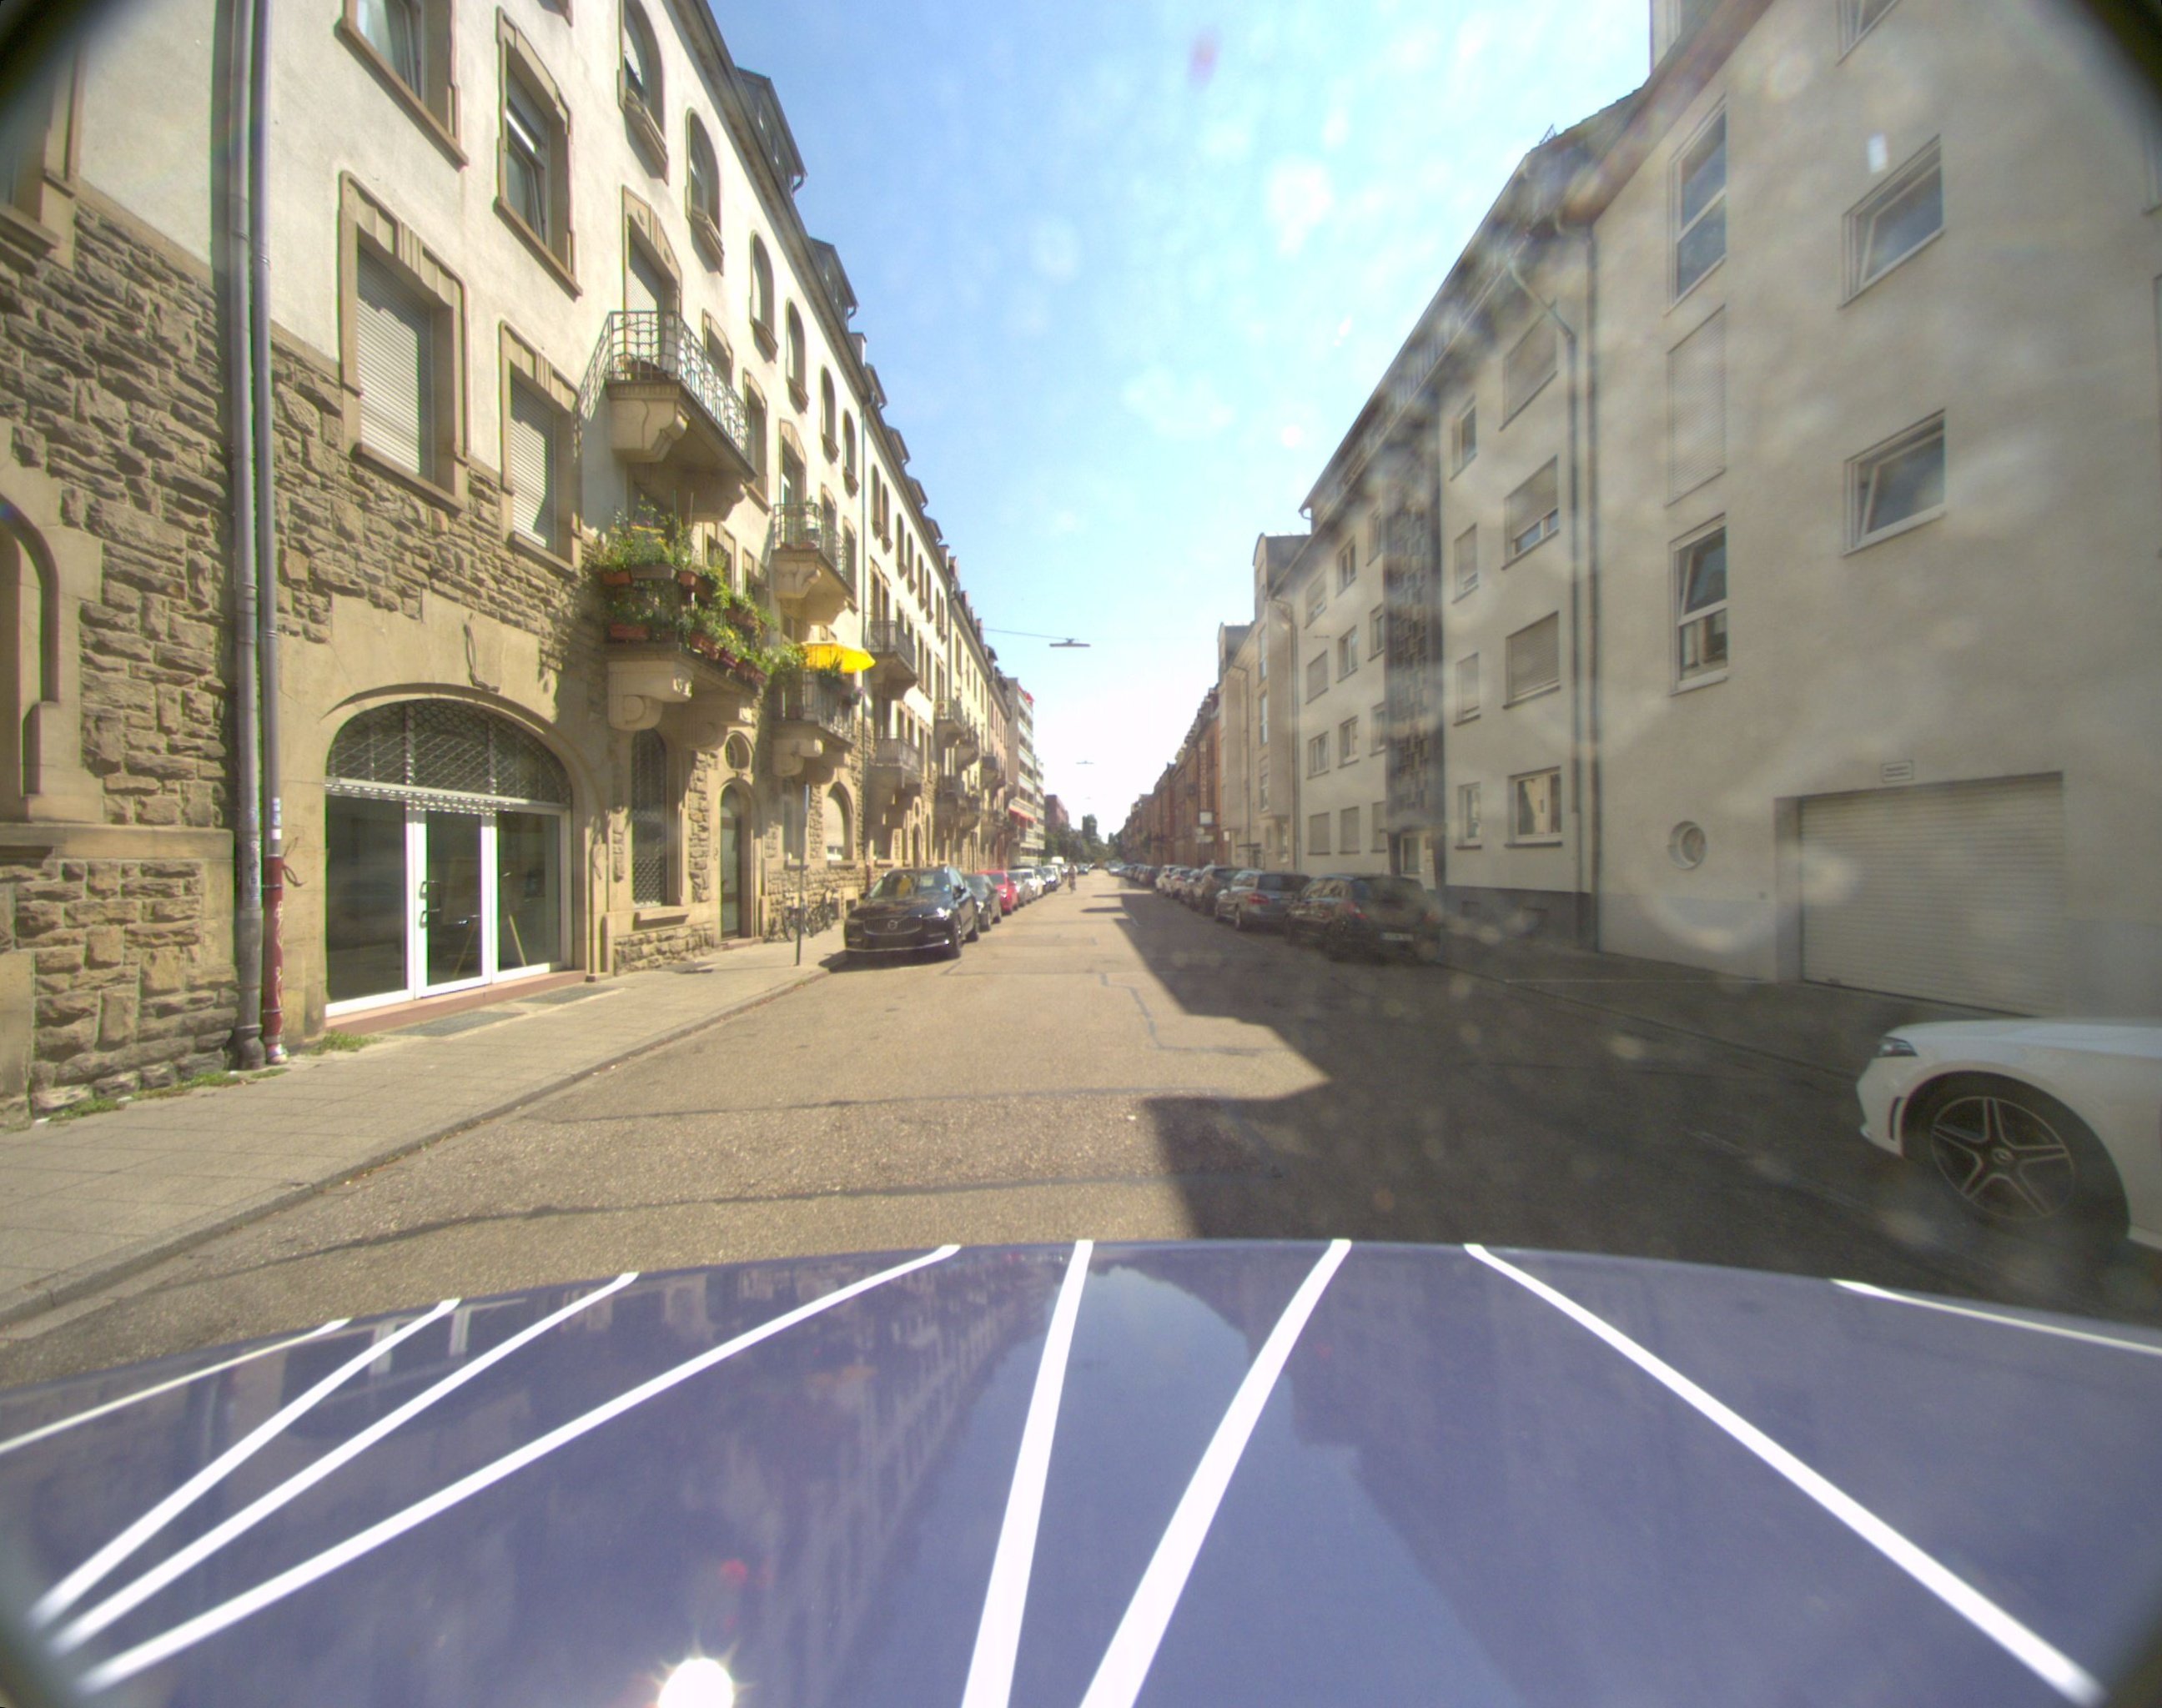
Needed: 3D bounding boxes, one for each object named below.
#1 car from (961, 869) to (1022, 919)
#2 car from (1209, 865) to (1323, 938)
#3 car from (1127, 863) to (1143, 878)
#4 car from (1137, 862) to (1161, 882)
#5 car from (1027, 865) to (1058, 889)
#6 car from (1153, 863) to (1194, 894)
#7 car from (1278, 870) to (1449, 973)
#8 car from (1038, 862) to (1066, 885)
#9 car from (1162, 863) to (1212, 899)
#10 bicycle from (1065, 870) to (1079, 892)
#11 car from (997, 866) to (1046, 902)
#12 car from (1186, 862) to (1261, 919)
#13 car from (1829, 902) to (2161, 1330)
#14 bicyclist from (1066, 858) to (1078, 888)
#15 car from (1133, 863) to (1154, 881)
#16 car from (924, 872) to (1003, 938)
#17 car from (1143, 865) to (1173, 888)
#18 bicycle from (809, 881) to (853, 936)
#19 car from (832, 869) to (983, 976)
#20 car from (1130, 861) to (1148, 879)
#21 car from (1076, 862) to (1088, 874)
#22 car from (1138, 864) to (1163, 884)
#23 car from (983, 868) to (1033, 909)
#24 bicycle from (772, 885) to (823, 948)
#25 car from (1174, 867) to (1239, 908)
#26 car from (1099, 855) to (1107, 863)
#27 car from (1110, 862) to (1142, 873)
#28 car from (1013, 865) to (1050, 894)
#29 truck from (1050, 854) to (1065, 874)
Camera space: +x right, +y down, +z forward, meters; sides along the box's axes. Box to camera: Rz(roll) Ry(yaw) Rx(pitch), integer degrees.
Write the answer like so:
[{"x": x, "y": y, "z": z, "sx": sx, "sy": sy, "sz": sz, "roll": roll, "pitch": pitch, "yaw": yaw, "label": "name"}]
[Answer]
[{"x": -2.989, "y": 1.305, "z": 26.006, "sx": 1.574, "sy": 1.444, "sz": 3.843, "roll": -3, "pitch": 0, "yaw": 0, "label": "car"}, {"x": 4.485, "y": 1.072, "z": 19.109, "sx": 1.660, "sy": 1.509, "sz": 4.671, "roll": 2, "pitch": 0, "yaw": 0, "label": "car"}, {"x": 5.680, "y": 1.724, "z": 80.017, "sx": 1.450, "sy": 1.391, "sz": 3.526, "roll": 4, "pitch": 0, "yaw": 1, "label": "car"}, {"x": 5.740, "y": 1.543, "z": 64.533, "sx": 1.450, "sy": 1.534, "sz": 3.525, "roll": 4, "pitch": 0, "yaw": -2, "label": "car"}, {"x": -2.392, "y": 1.422, "z": 47.942, "sx": 1.828, "sy": 1.423, "sz": 4.489, "roll": -1, "pitch": -1, "yaw": -2, "label": "car"}, {"x": 5.264, "y": 1.380, "z": 43.656, "sx": 1.633, "sy": 1.540, "sz": 3.852, "roll": 4, "pitch": 0, "yaw": -3, "label": "car"}, {"x": 4.880, "y": 1.083, "z": 13.718, "sx": 1.571, "sy": 1.483, "sz": 3.893, "roll": 2, "pitch": 0, "yaw": 0, "label": "car"}, {"x": -2.192, "y": 1.479, "z": 58.624, "sx": 1.651, "sy": 1.612, "sz": 4.093, "roll": 0, "pitch": 0, "yaw": 5, "label": "car"}, {"x": 5.043, "y": 1.257, "z": 36.637, "sx": 1.735, "sy": 1.486, "sz": 4.348, "roll": 2, "pitch": 0, "yaw": 0, "label": "car"}, {"x": -0.475, "y": 1.469, "z": 41.767, "sx": 0.671, "sy": 1.169, "sz": 2.094, "roll": 0, "pitch": 0, "yaw": 1, "label": "bicycle"}, {"x": -2.775, "y": 1.390, "z": 36.442, "sx": 1.720, "sy": 1.444, "sz": 4.598, "roll": -3, "pitch": 0, "yaw": 3, "label": "car"}, {"x": 4.520, "y": 1.109, "z": 24.595, "sx": 1.608, "sy": 1.634, "sz": 3.977, "roll": 2, "pitch": 0, "yaw": 0, "label": "car"}, {"x": 4.795, "y": 0.995, "z": 1.758, "sx": 1.781, "sy": 1.451, "sz": 4.278, "roll": 2, "pitch": 0, "yaw": -2, "label": "car"}, {"x": -0.479, "y": 1.062, "z": 41.759, "sx": 0.645, "sy": 1.640, "sz": 0.622, "roll": 0, "pitch": 0, "yaw": 1, "label": "bicyclist"}, {"x": 5.664, "y": 1.606, "z": 68.881, "sx": 1.450, "sy": 1.464, "sz": 3.525, "roll": 4, "pitch": 0, "yaw": -1, "label": "car"}, {"x": -2.957, "y": 1.247, "z": 19.785, "sx": 1.516, "sy": 1.390, "sz": 3.972, "roll": -3, "pitch": 0, "yaw": -2, "label": "car"}, {"x": 5.467, "y": 1.569, "z": 54.481, "sx": 1.781, "sy": 1.421, "sz": 3.837, "roll": 4, "pitch": 0, "yaw": 2, "label": "car"}, {"x": -6.061, "y": 1.293, "z": 18.493, "sx": 0.442, "sy": 1.201, "sz": 1.775, "roll": 0, "pitch": 0, "yaw": 2, "label": "bicycle"}, {"x": -3.073, "y": 1.145, "z": 14.480, "sx": 1.838, "sy": 1.557, "sz": 4.604, "roll": -3, "pitch": 0, "yaw": -1, "label": "car"}, {"x": 5.710, "y": 1.582, "z": 75.080, "sx": 1.450, "sy": 1.633, "sz": 3.526, "roll": 4, "pitch": 0, "yaw": 0, "label": "car"}, {"x": 0.178, "y": 1.945, "z": 107.234, "sx": 1.625, "sy": 1.600, "sz": 3.597, "roll": 0, "pitch": 0, "yaw": 0, "label": "car"}, {"x": 5.427, "y": 1.536, "z": 59.666, "sx": 1.632, "sy": 1.421, "sz": 3.679, "roll": 4, "pitch": 0, "yaw": 2, "label": "car"}, {"x": -2.918, "y": 1.360, "z": 31.203, "sx": 1.593, "sy": 1.444, "sz": 3.856, "roll": -3, "pitch": 0, "yaw": 0, "label": "car"}, {"x": -5.994, "y": 1.286, "z": 16.140, "sx": 0.385, "sy": 1.201, "sz": 1.775, "roll": 0, "pitch": 0, "yaw": 2, "label": "bicycle"}, {"x": 4.821, "y": 1.257, "z": 29.839, "sx": 1.769, "sy": 1.385, "sz": 4.348, "roll": 2, "pitch": 0, "yaw": 0, "label": "car"}, {"x": 5.638, "y": 1.291, "z": 194.306, "sx": 1.785, "sy": 2.002, "sz": 4.001, "roll": -1, "pitch": 0, "yaw": 3, "label": "car"}, {"x": 5.753, "y": 1.737, "z": 96.808, "sx": 3.996, "sy": 1.422, "sz": 1.678, "roll": 0, "pitch": 0, "yaw": 2, "label": "car"}, {"x": -2.669, "y": 1.389, "z": 41.983, "sx": 1.741, "sy": 1.449, "sz": 4.668, "roll": 0, "pitch": 0, "yaw": 0, "label": "car"}, {"x": -3.220, "y": 1.368, "z": 105.020, "sx": 1.869, "sy": 2.715, "sz": 4.508, "roll": 0, "pitch": 0, "yaw": 1, "label": "truck"}]
